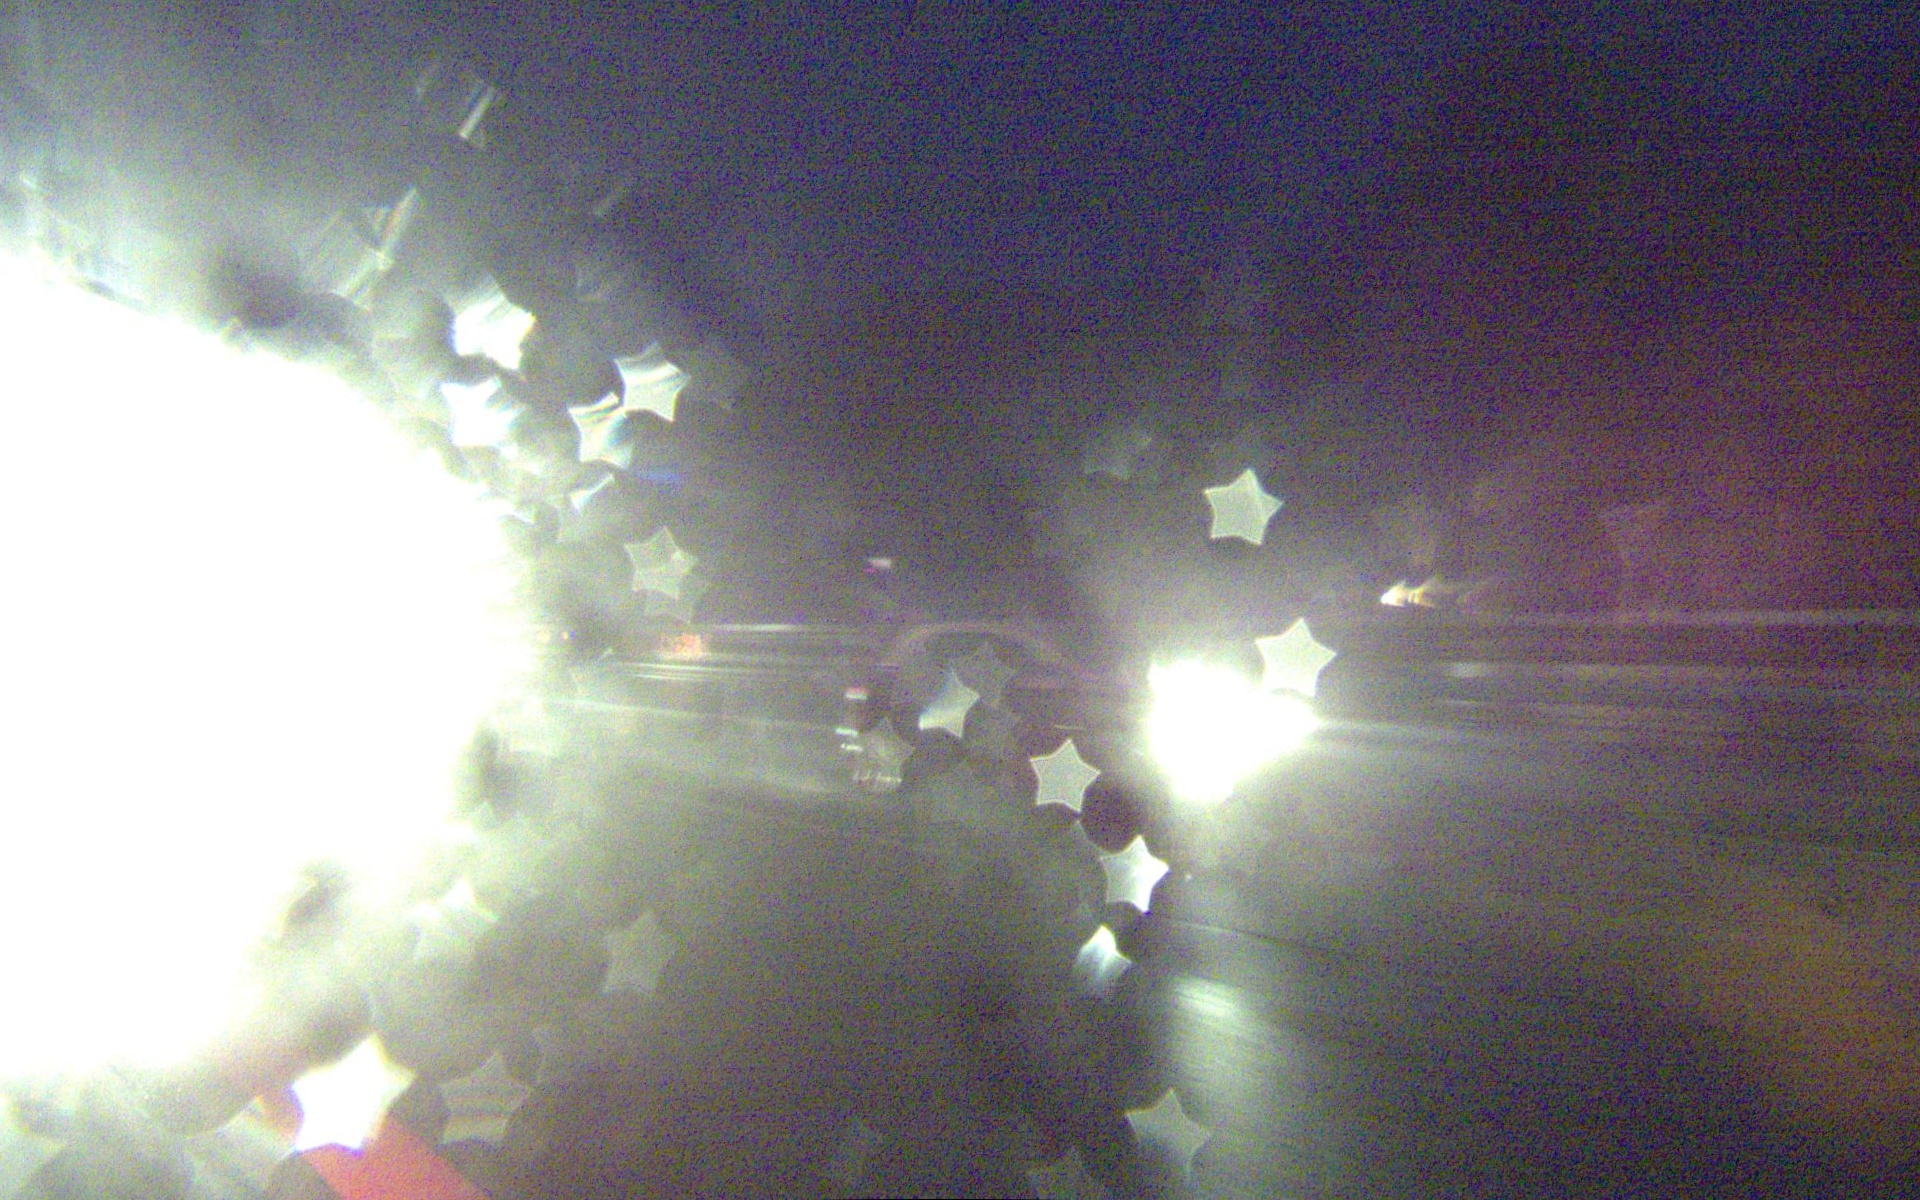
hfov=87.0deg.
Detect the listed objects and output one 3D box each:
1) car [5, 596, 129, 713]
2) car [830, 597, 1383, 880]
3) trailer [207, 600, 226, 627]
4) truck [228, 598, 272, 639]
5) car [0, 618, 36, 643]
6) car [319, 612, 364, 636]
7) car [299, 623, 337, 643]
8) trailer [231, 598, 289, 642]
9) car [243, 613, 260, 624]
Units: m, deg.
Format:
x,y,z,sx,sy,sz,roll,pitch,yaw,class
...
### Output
x,y,z,sx,sy,sz,roll,pitch,yaw,class
-18.238,1.032,20.603,1.729,2.121,4.467,0,-1,-43,car
0.915,0.830,7.599,3.847,1.587,1.632,-2,-2,42,car
-131.743,2.315,179.430,2.541,4.490,12.522,-2,1,-36,trailer
-63.583,1.629,90.561,2.573,3.483,4.645,-1,1,-43,truck
-81.743,2.644,87.697,3.997,2.028,1.973,-1,1,41,car
-38.480,1.450,62.904,3.244,1.352,1.586,0,2,44,car
-58.442,2.961,92.145,3.997,1.726,1.812,0,1,40,car
-60.170,1.618,86.888,2.578,3.498,10.457,-1,1,-43,trailer
-116.696,3.030,166.576,1.968,1.741,4.007,-1,1,-39,car
